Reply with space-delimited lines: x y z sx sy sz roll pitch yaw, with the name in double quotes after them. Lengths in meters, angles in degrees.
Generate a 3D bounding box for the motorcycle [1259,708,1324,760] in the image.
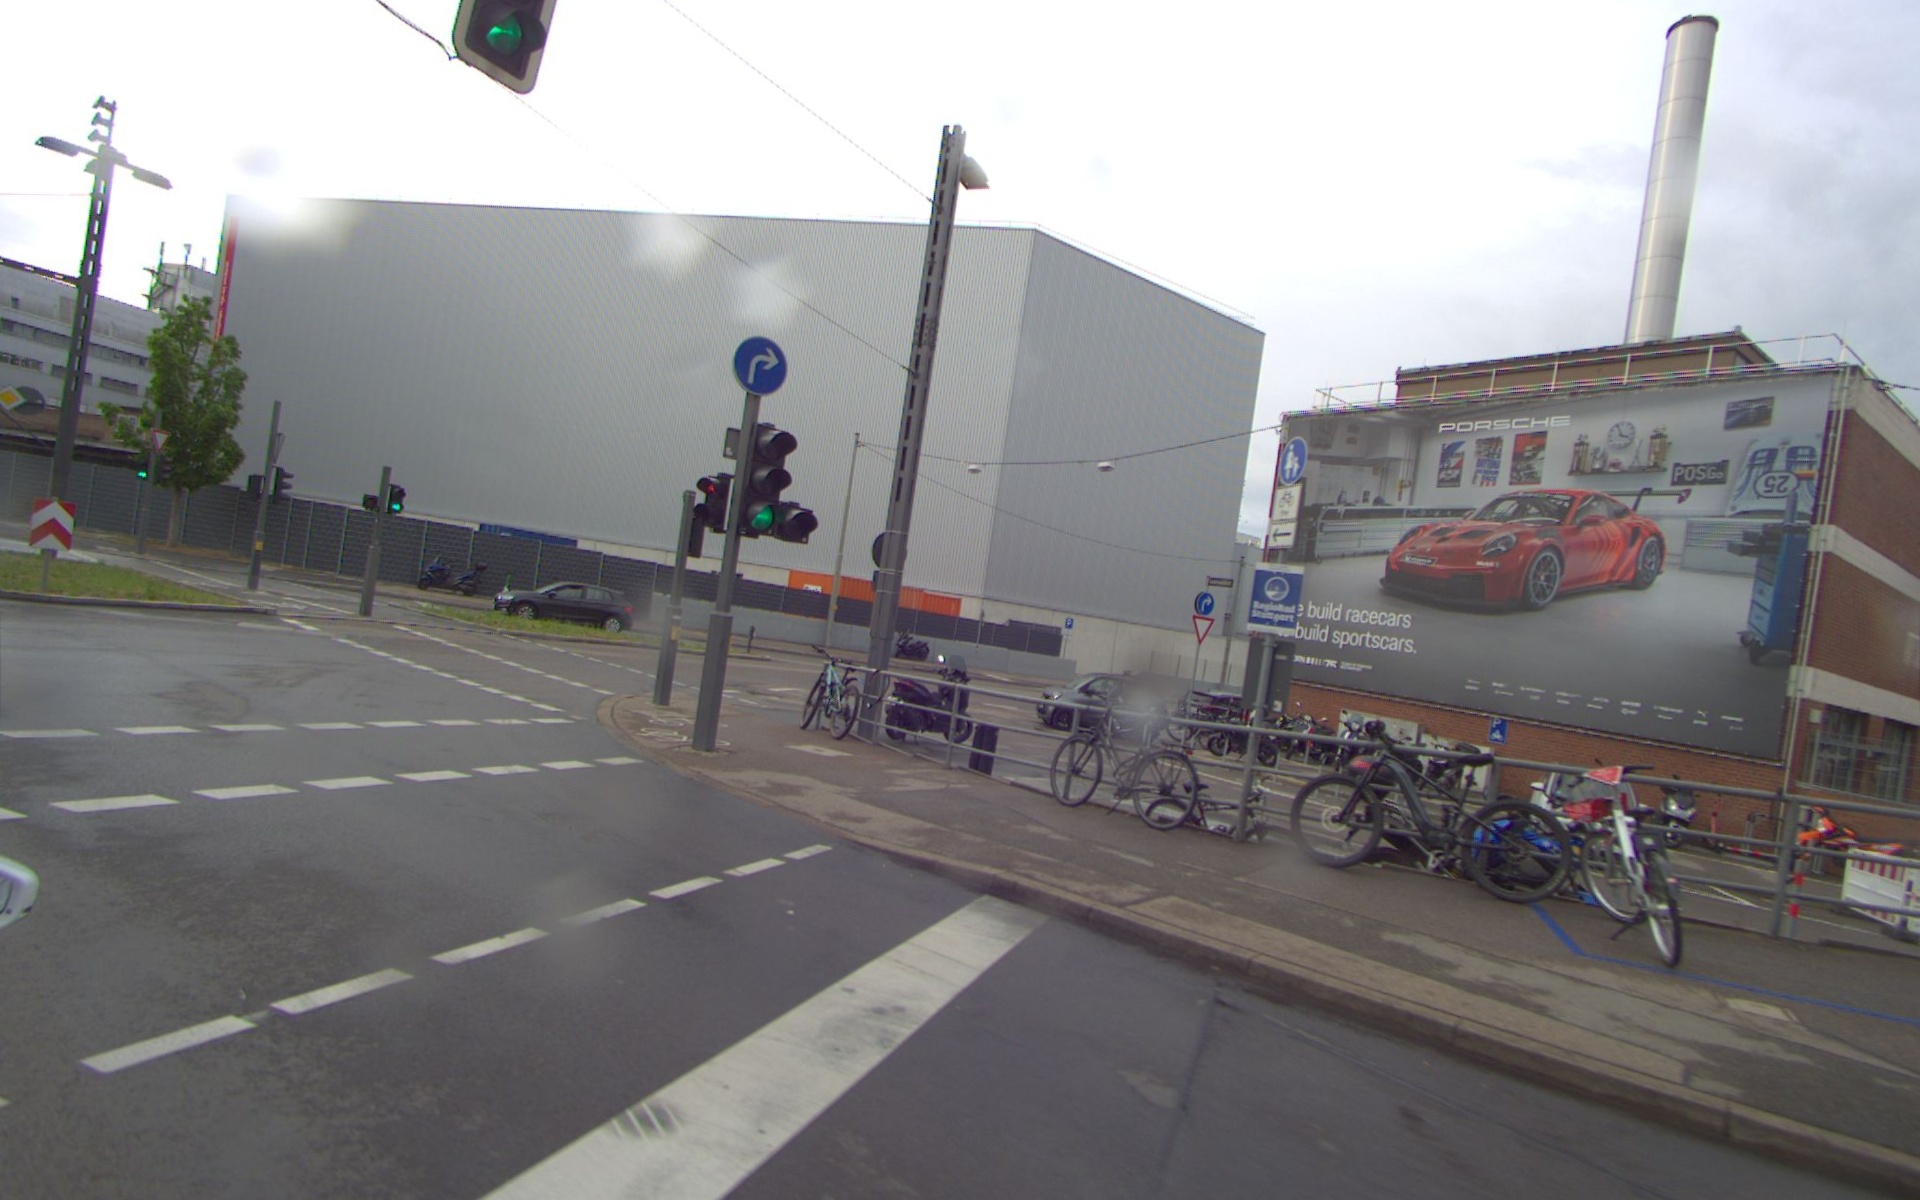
8.827 3.574 26.784 1.633 1.193 0.670 9 -3 -33 "motorcycle"

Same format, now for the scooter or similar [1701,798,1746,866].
14.939 4.508 19.706 0.496 1.108 1.637 5 -3 33 "scooter or similar"

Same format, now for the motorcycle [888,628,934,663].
-2.417 2.262 49.642 2.085 1.393 0.649 10 -1 -36 "motorcycle"

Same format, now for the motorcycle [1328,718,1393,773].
9.950 3.624 24.953 1.697 1.193 0.540 9 -3 -33 "motorcycle"

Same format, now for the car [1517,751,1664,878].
10.750 3.577 17.392 1.540 1.506 4.001 8 -2 26 "car"

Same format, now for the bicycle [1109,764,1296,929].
2.173 2.199 9.223 0.345 1.096 1.726 7 -2 -38 "bicycle"

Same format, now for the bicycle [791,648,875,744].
-1.814 1.304 14.132 0.416 1.142 2.062 8 -3 -25 "bicycle"

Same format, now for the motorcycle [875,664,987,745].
-0.435 1.721 16.289 0.481 1.158 2.089 5 -4 38 "motorcycle"

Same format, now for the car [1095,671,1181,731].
5.640 3.207 31.738 1.529 1.510 2.748 10 -1 33 "car"

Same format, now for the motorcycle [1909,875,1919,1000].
7.777 2.551 7.091 1.511 0.900 0.403 6 -1 15 "motorcycle"

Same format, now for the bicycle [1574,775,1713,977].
4.463 1.736 6.657 0.414 0.972 1.746 6 -2 25 "bicycle"

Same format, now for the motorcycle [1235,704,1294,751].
8.721 3.651 28.864 0.538 1.123 1.638 8 -3 -28 "motorcycle"

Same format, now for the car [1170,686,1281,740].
9.393 3.978 35.410 4.075 1.459 1.552 10 -4 -38 "car"

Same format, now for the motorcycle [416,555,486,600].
-18.910 -0.837 37.392 2.085 1.325 0.649 10 -2 -36 "motorcycle"

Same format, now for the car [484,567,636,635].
-12.221 0.045 30.835 3.964 1.441 1.706 10 -2 -33 "car"

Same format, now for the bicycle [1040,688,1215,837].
1.521 1.475 9.433 0.345 1.096 1.726 7 -2 -38 "bicycle"

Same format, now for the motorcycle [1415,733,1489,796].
11.226 3.767 22.947 1.790 1.253 0.540 9 -1 -33 "motorcycle"

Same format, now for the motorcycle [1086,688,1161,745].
3.873 2.761 23.826 1.704 1.159 0.492 9 -3 -28 "motorcycle"

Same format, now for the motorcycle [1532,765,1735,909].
5.478 1.913 8.241 1.241 0.900 0.435 6 -1 19 "motorcycle"

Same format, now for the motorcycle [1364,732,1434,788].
10.263 3.738 23.487 1.791 1.132 0.473 9 -3 -31 "motorcycle"

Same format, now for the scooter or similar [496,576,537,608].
-17.078 -0.301 38.730 1.248 1.040 0.385 9 -1 -3 "scooter or similar"

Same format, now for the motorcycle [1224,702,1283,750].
8.207 3.506 28.165 0.538 1.132 1.592 8 -3 -28 "motorcycle"

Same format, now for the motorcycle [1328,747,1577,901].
4.078 1.813 8.415 1.720 0.905 0.545 5 -2 41 "motorcycle"

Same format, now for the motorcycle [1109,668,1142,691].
10.174 4.894 61.982 0.623 1.087 1.905 9 -1 -41 "motorcycle"

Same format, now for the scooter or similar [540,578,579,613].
-15.850 -0.181 39.831 1.254 1.213 0.423 10 -1 -22 "scooter or similar"

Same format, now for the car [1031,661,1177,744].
3.620 2.576 25.554 3.192 1.521 1.624 9 -1 -8 "car"

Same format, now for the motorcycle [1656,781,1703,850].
14.372 4.288 20.122 0.575 1.164 1.719 5 -3 33 "motorcycle"

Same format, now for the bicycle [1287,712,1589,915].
3.666 1.604 7.852 1.980 1.189 0.400 5 -1 27 "bicycle"

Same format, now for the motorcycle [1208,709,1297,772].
6.473 3.094 22.346 0.540 1.123 1.848 8 -3 -36 "motorcycle"

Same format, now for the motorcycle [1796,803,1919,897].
16.360 4.527 18.282 1.638 1.348 0.525 6 -2 18 "motorcycle"

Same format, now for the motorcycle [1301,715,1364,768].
9.474 3.604 25.551 1.633 1.193 0.540 9 -3 -33 "motorcycle"
